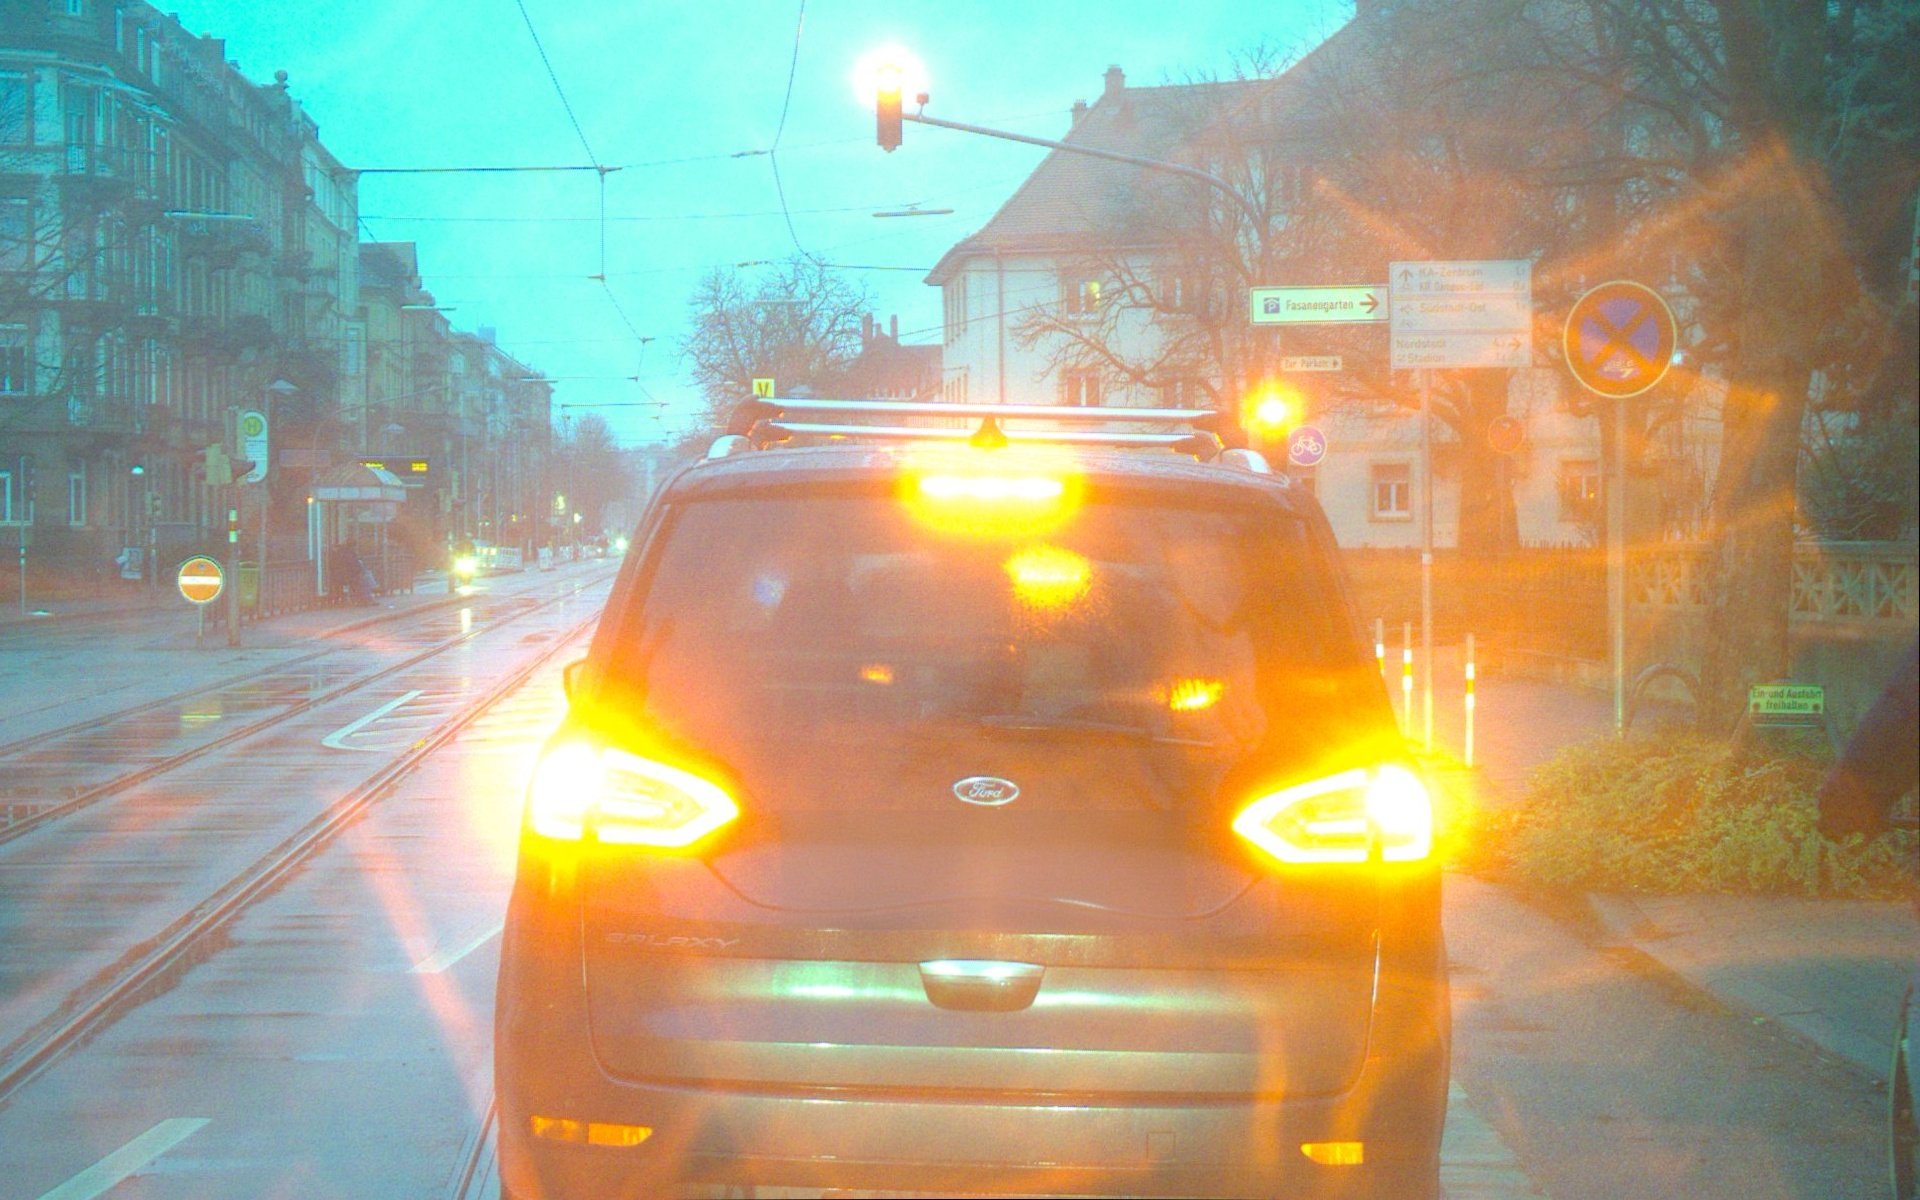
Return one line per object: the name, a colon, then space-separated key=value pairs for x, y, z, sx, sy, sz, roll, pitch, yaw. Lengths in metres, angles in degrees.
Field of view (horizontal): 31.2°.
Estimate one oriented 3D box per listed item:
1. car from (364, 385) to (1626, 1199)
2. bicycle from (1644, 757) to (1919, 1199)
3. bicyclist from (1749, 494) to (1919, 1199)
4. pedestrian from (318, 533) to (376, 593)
car: x=-0.017 y=0.524 z=8.160 sx=2.103 sy=1.810 sz=4.661 roll=2 pitch=1 yaw=-2
bicycle: x=1.981 y=0.937 z=6.439 sx=0.716 sy=1.108 sz=1.942 roll=4 pitch=1 yaw=-8
bicyclist: x=2.017 y=0.656 z=6.292 sx=0.716 sy=1.657 sz=1.057 roll=3 pitch=1 yaw=-8
pedestrian: x=-12.279 y=-0.743 z=68.886 sx=1.047 sy=1.196 sz=0.885 roll=1 pitch=0 yaw=-3
